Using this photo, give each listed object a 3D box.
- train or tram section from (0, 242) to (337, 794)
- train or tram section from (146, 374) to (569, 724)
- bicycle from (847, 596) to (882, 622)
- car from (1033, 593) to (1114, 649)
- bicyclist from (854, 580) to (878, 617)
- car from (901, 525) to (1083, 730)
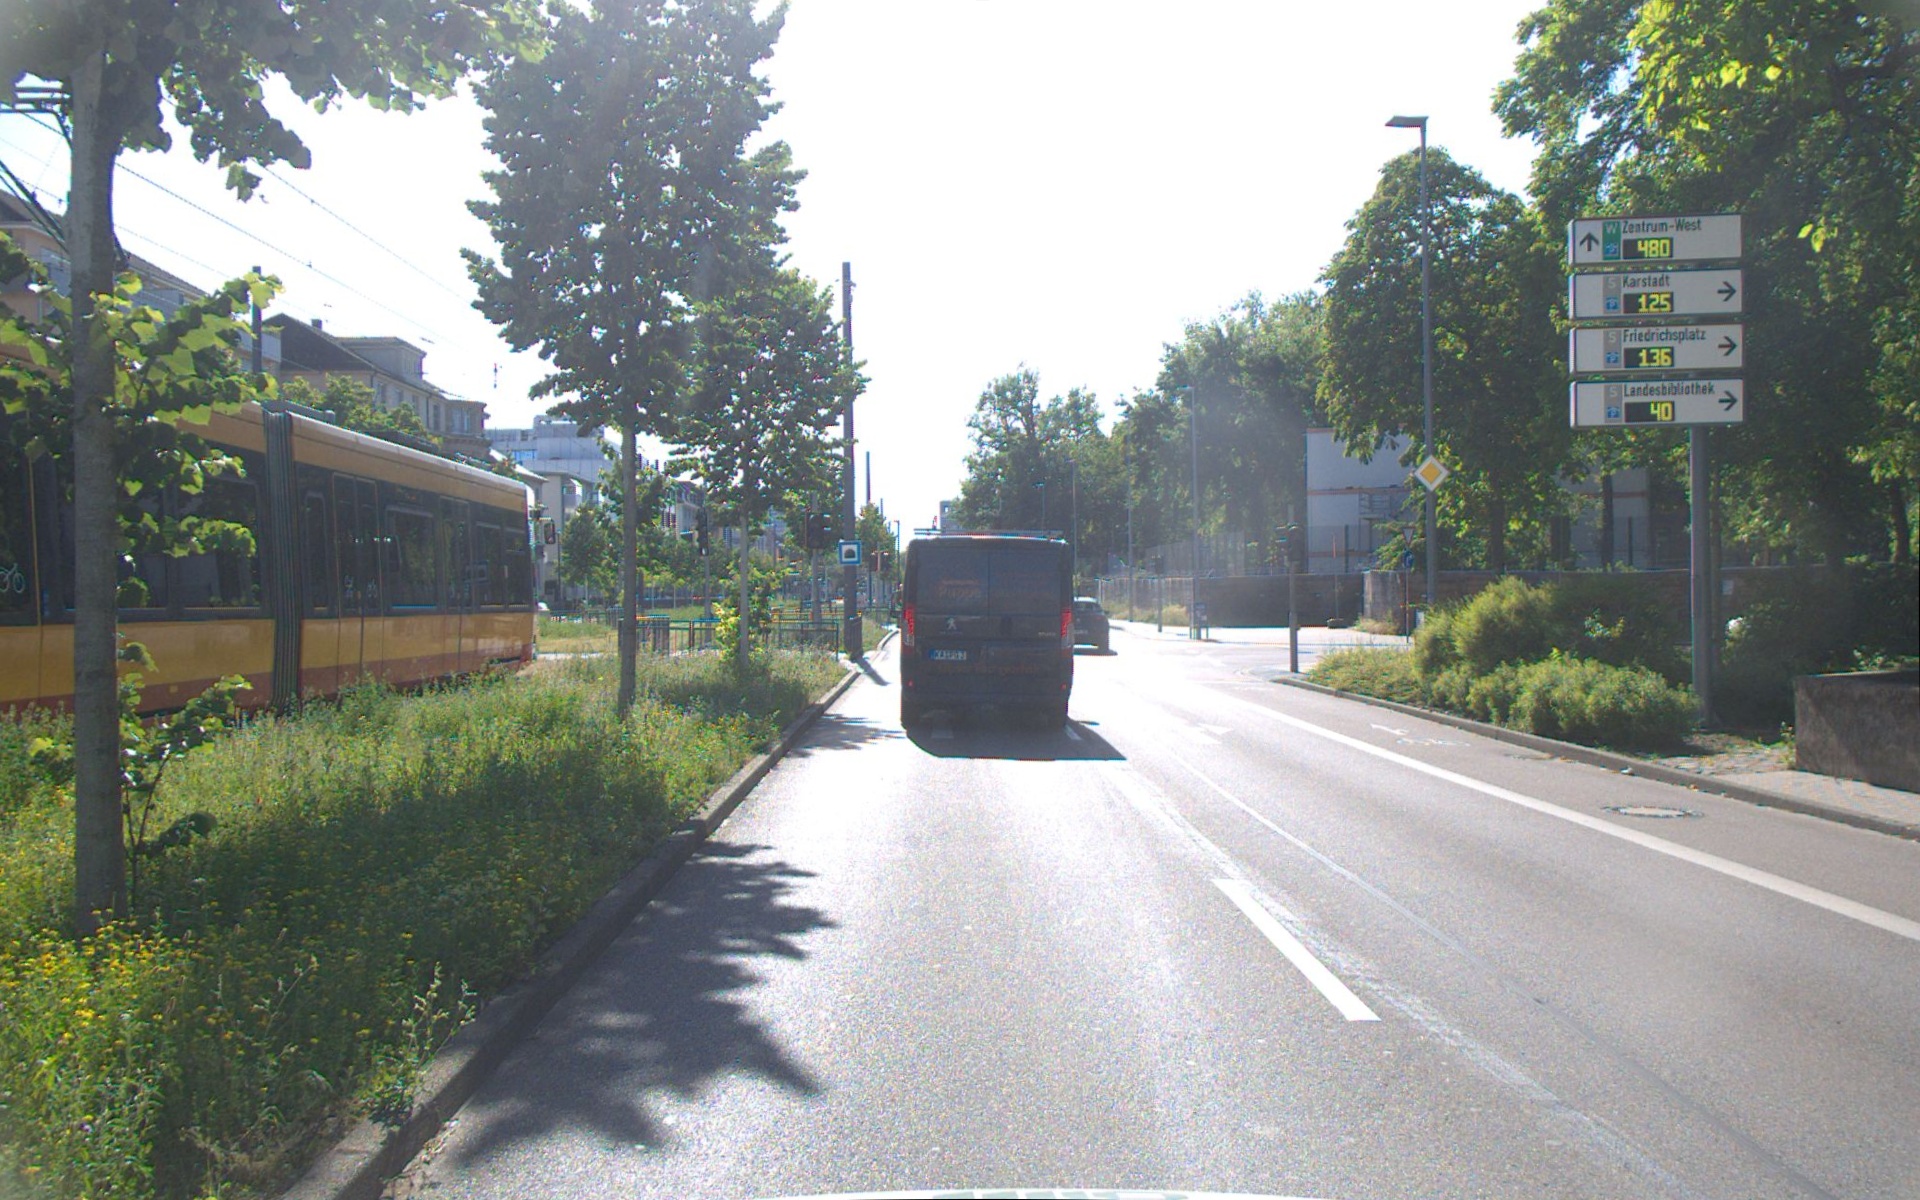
[{"bbox_3d":[-7.505,-0.557,12.067,1.953,3.733,11.312,0,0,-2],"label":"train or tram section"},{"bbox_3d":[-7.822,-0.554,23.539,1.953,3.733,11.680,0,0,-1],"label":"train or tram section"},{"bbox_3d":[-4.100,0.371,70.556,0.724,1.110,2.064,0,0,-27],"label":"bicycle"},{"bbox_3d":[3.090,0.560,45.702,1.728,1.488,3.997,0,0,-3],"label":"car"},{"bbox_3d":[-3.982,-0.064,70.326,0.816,1.539,0.723,0,0,-27],"label":"bicyclist"},{"bbox_3d":[0.299,0.307,20.494,2.040,2.288,3.998,0,0,-2],"label":"car"}]
